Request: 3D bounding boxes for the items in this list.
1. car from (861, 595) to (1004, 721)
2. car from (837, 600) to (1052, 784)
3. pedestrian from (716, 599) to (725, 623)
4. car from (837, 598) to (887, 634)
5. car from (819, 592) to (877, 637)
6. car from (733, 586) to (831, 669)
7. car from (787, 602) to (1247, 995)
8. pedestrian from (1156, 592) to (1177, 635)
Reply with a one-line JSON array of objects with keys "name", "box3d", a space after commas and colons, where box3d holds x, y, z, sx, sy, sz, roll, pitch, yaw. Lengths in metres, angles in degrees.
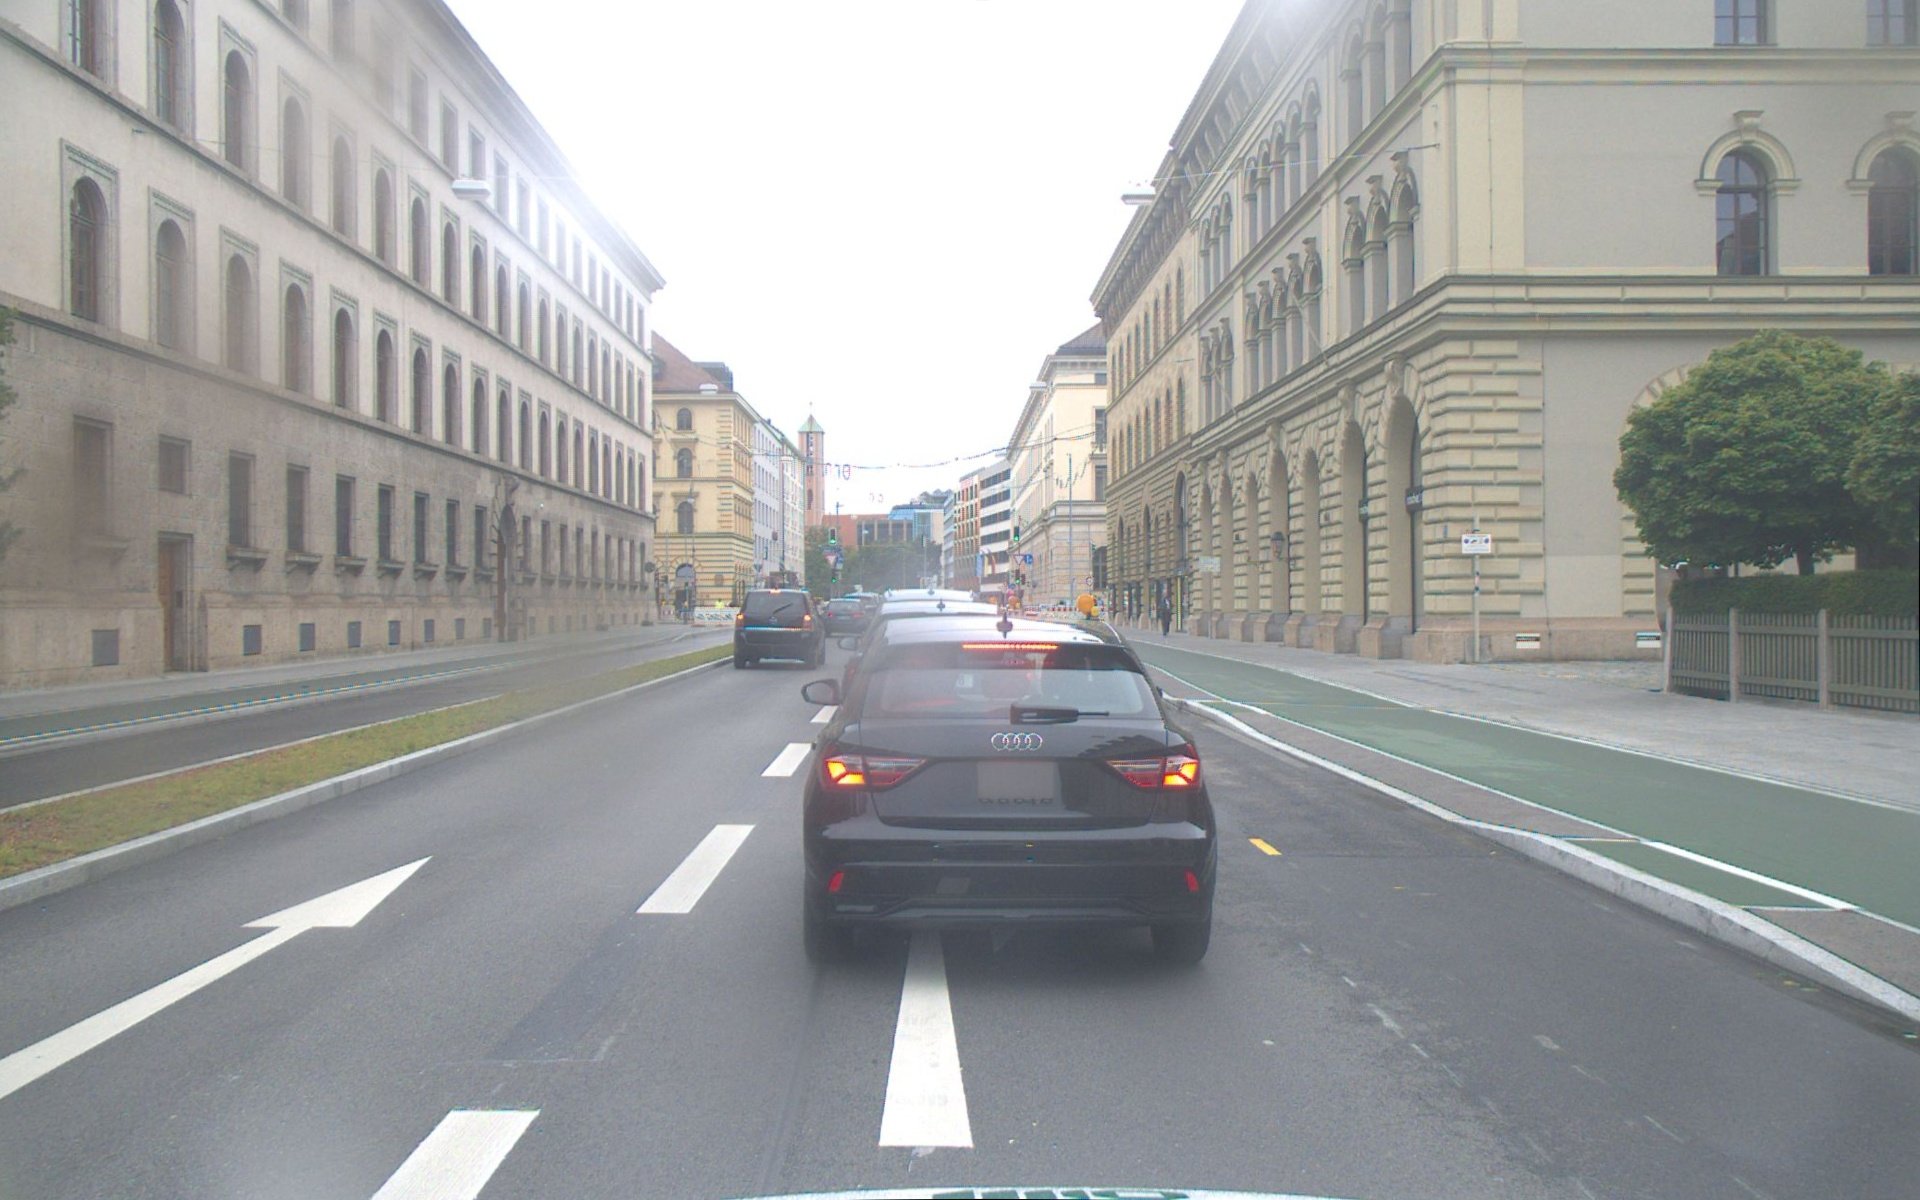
[{"name": "car", "box3d": [-0.366, 0.693, 21.887, 1.695, 1.486, 3.999, 1, 0, -1]}, {"name": "car", "box3d": [-0.163, 0.738, 15.251, 1.695, 1.427, 3.999, 1, 0, -1]}, {"name": "pedestrian", "box3d": [-18.183, 0.821, 125.530, 0.642, 1.836, 0.727, 0, 0, -2]}, {"name": "car", "box3d": [-4.190, 0.661, 71.258, 1.953, 1.469, 3.999, 0, 0, -1]}, {"name": "car", "box3d": [-4.187, 0.523, 62.191, 1.953, 1.656, 3.999, 0, 0, -1]}, {"name": "car", "box3d": [-3.724, 0.553, 35.164, 1.729, 1.644, 4.029, 1, 0, -1]}, {"name": "car", "box3d": [0.176, 0.745, 8.173, 1.695, 1.427, 3.999, 1, 0, -1]}, {"name": "pedestrian", "box3d": [8.077, 0.525, 64.638, 0.695, 1.646, 0.754, 0, 0, -2]}]
